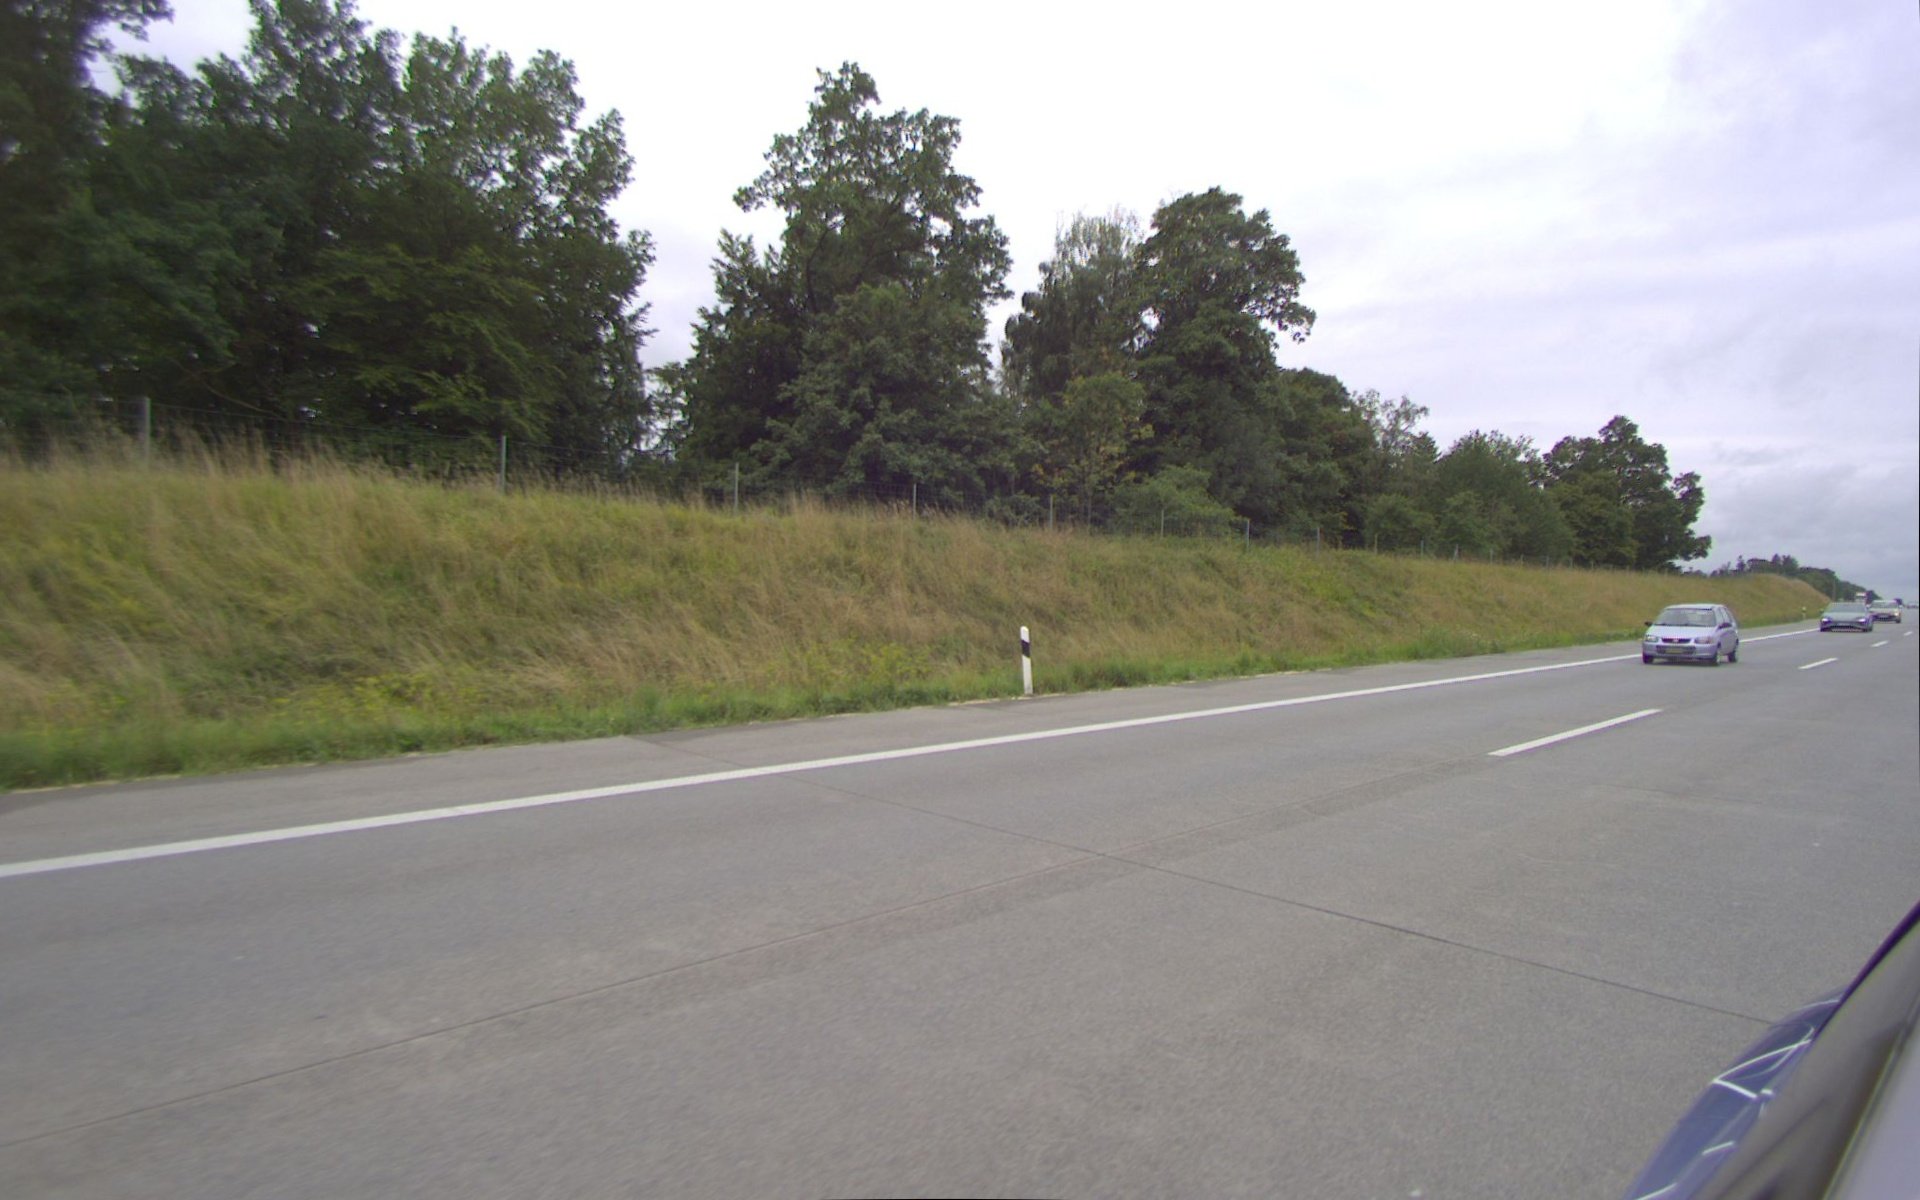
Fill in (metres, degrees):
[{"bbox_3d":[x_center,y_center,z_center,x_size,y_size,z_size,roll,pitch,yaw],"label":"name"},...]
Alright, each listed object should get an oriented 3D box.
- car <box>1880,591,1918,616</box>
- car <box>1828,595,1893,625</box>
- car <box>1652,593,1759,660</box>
[{"bbox_3d":[67.580,0.239,72.900,1.784,1.624,4.502,4,2,41],"label":"car"},{"bbox_3d":[45.747,0.528,51.372,4.664,1.464,2.016,1,-1,-43],"label":"car"},{"bbox_3d":[18.204,0.627,24.667,3.445,1.489,1.487,1,0,-43],"label":"car"}]
